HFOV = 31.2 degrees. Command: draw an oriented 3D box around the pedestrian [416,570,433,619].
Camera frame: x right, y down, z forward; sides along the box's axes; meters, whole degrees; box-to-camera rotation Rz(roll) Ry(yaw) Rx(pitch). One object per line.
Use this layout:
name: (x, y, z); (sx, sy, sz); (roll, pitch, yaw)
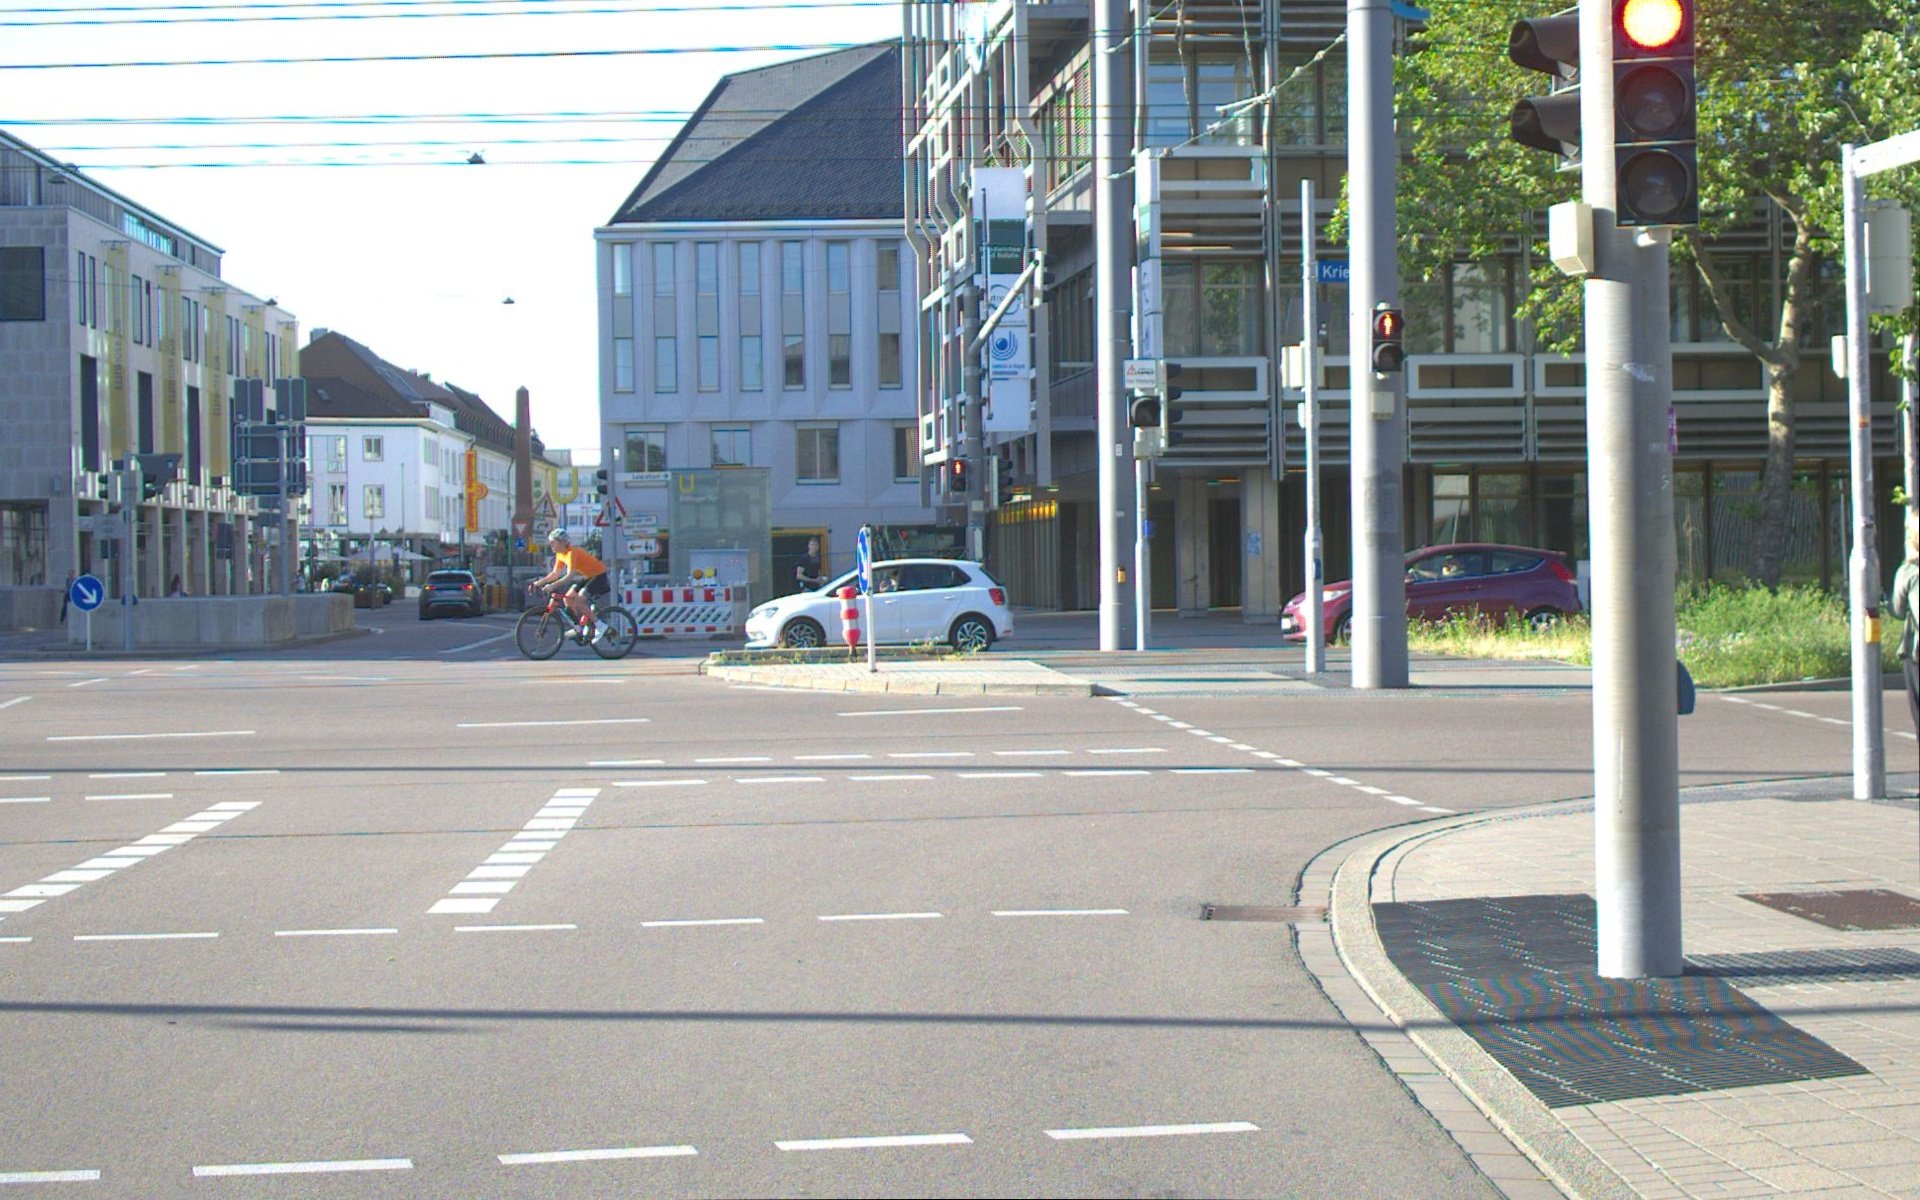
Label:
pedestrian: (-18.206, -0.188, 116.831); (0.521, 1.674, 0.583); (1, 1, -7)

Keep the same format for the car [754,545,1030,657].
car: (-1.026, 0.007, 50.554); (3.897, 1.579, 1.660); (1, 0, -7)

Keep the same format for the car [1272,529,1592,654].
car: (6.236, -0.126, 45.627); (3.884, 1.579, 1.660); (-1, 1, -7)

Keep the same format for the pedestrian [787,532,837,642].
pedestrian: (-2.556, -0.231, 59.510); (0.642, 1.883, 0.790); (1, 0, 14)

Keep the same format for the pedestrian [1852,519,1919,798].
pedestrian: (5.339, 0.315, 18.674); (0.788, 1.487, 0.644); (1, 0, -1)

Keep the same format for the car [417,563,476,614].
car: (-16.145, -0.374, 108.204); (1.737, 1.525, 3.856); (1, 1, -7)

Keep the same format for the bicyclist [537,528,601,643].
bicyclist: (-4.964, -0.185, 43.639); (0.711, 1.432, 0.497); (1, 0, -17)

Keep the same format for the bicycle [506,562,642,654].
bicycle: (-4.905, 0.104, 43.664); (1.644, 1.150, 0.497); (1, 0, -17)
